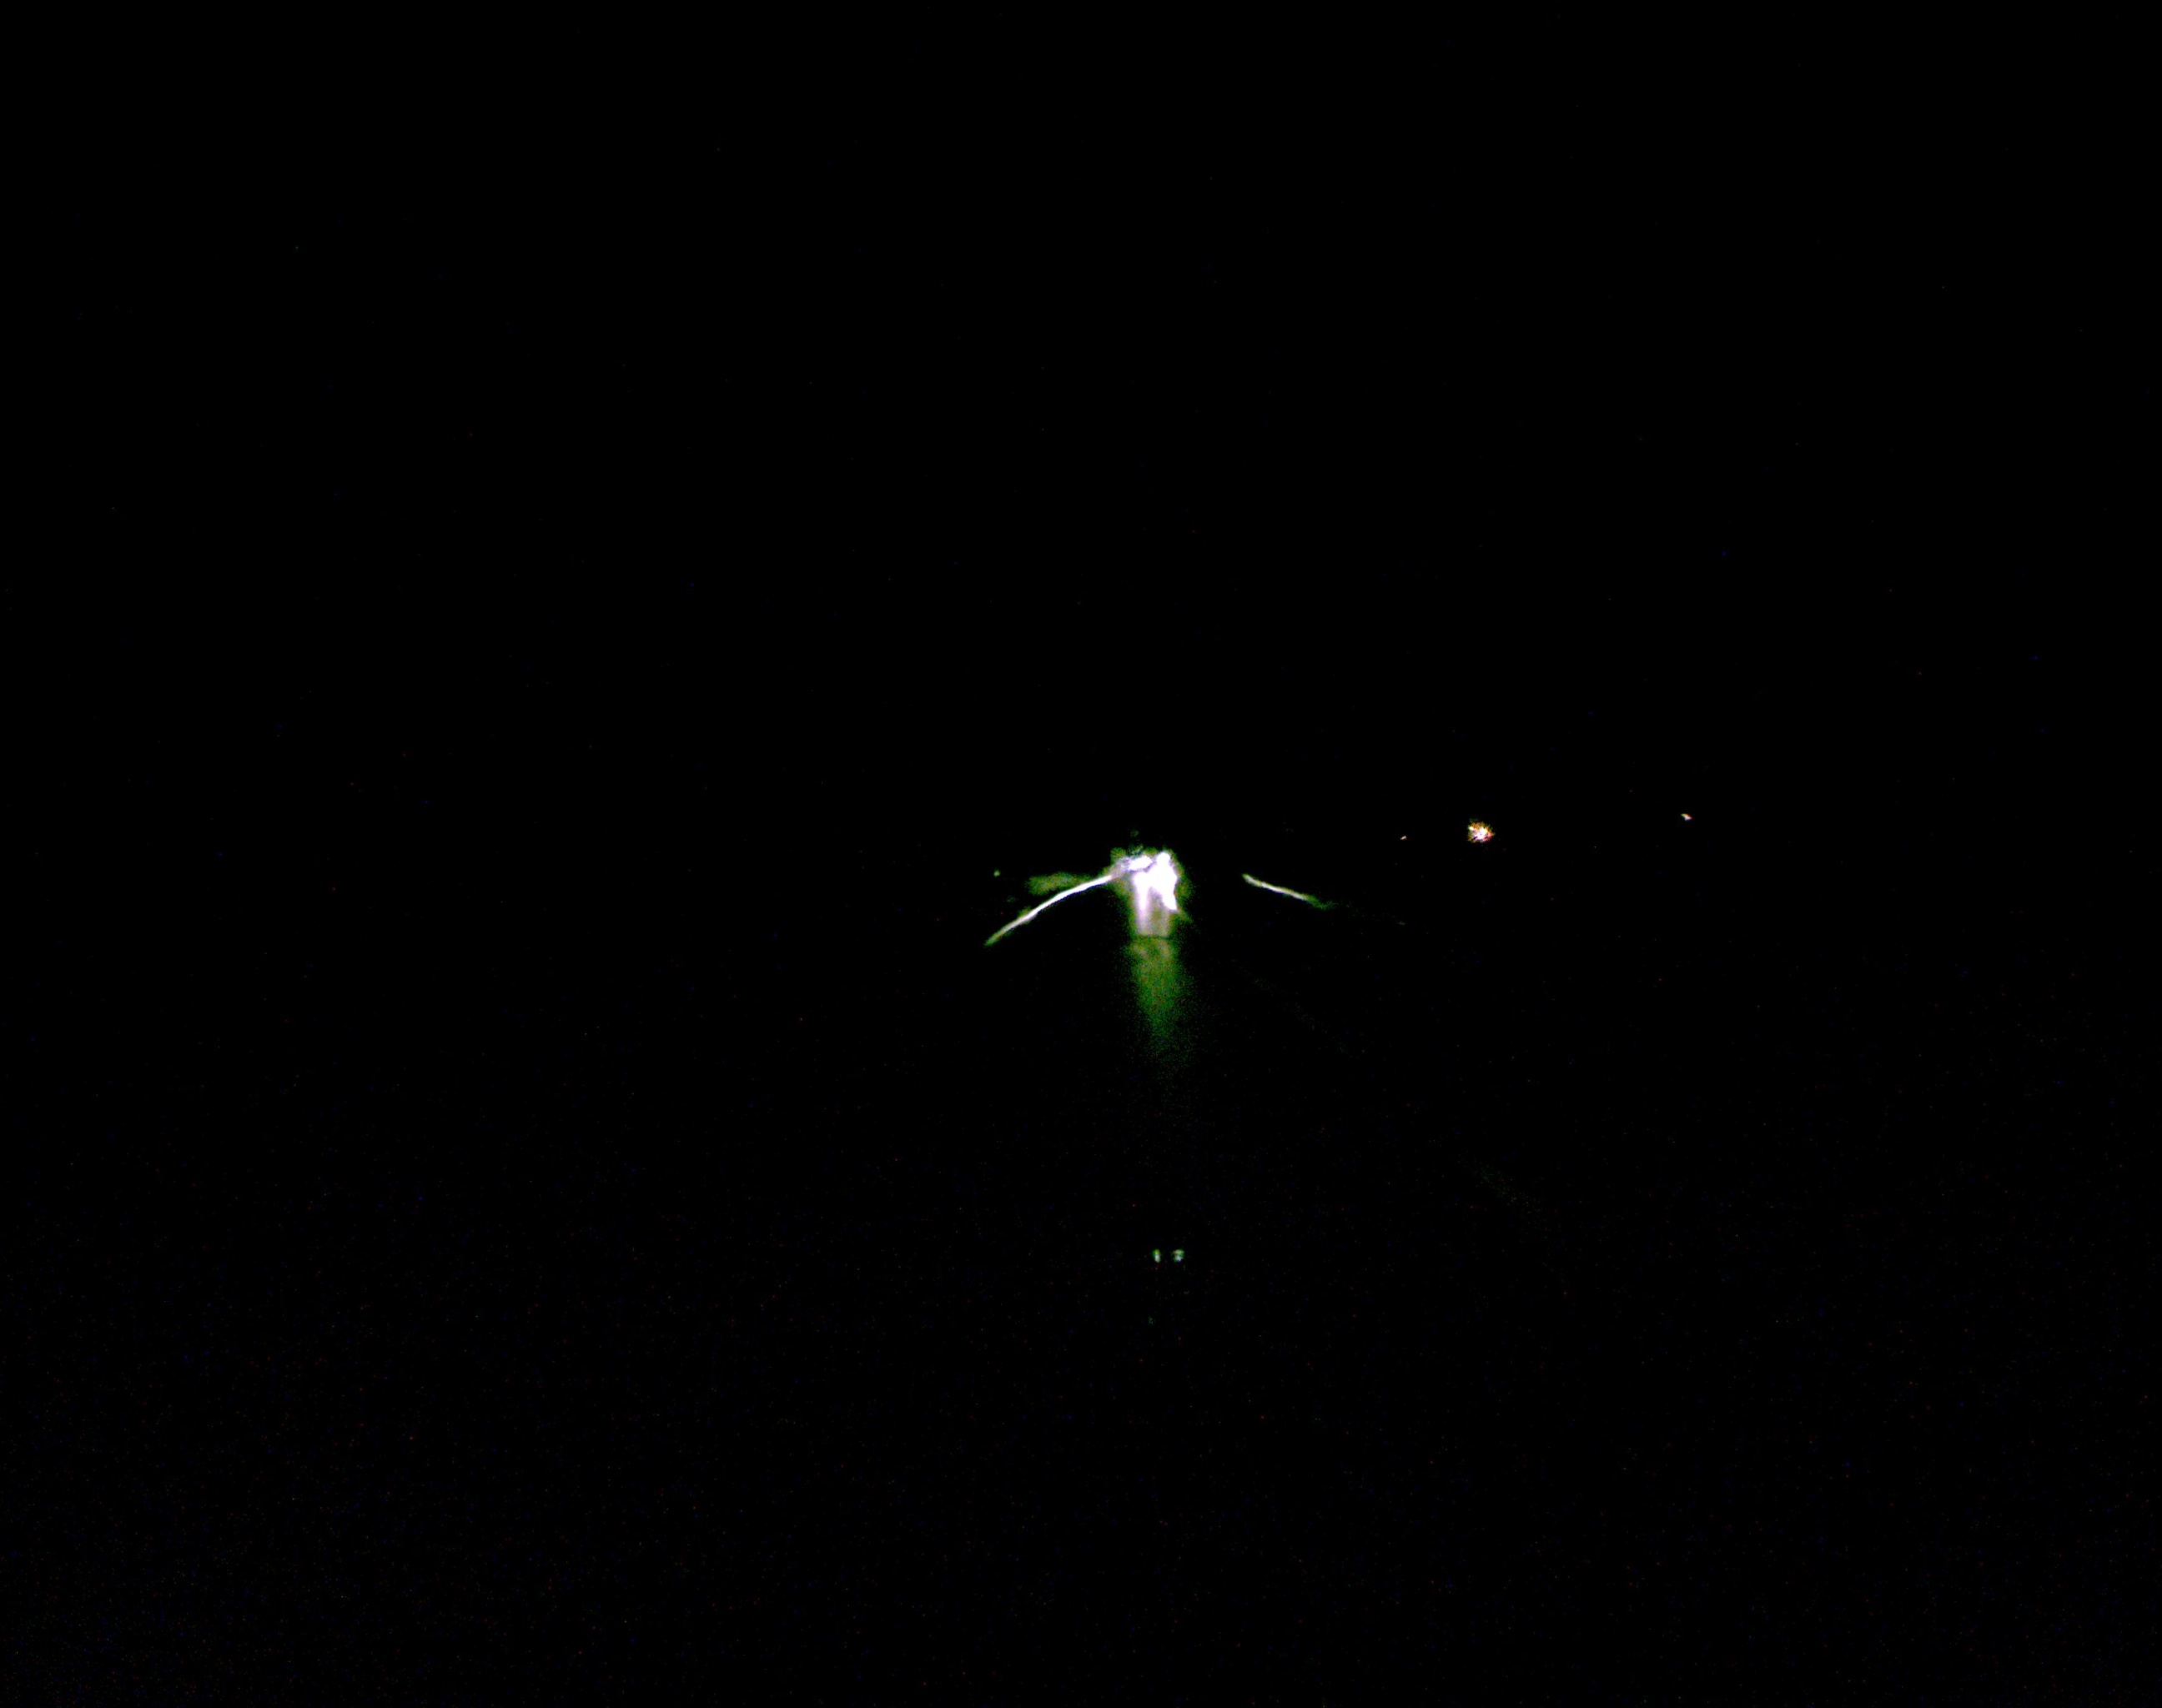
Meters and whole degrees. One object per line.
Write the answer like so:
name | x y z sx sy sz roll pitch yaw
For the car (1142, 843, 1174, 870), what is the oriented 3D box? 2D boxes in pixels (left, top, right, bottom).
car | 5.587 0.152 54.596 1.958 1.712 4.002 -2 1 9
